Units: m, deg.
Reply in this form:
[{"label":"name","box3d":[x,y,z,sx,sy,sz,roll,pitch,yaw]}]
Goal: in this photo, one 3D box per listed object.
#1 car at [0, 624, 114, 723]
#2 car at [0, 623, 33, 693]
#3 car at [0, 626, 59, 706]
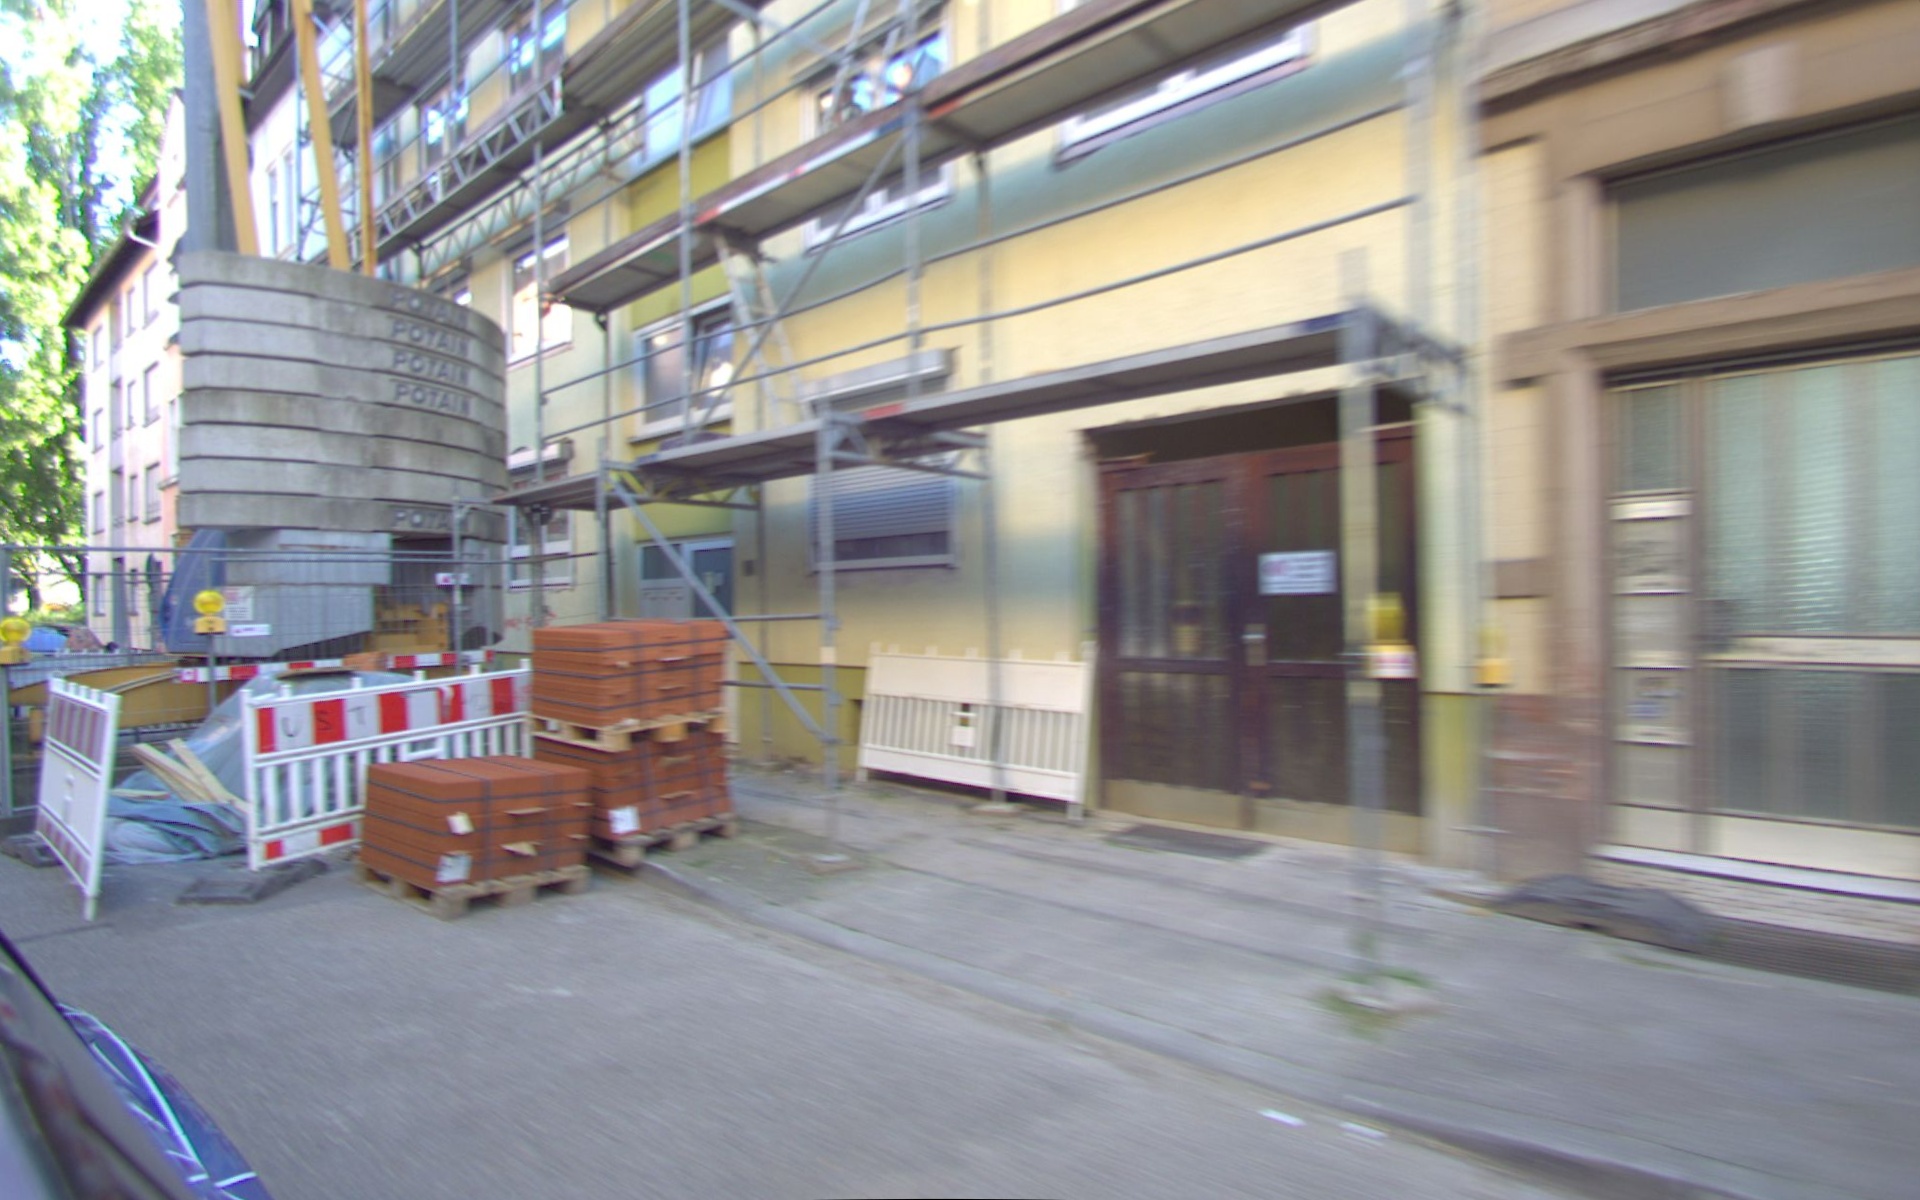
[{"label":"car","box3d":[-16.129,1.179,17.457,4.695,1.520,1.747,-1,-2,43]},{"label":"car","box3d":[-23.607,1.355,24.298,4.248,1.586,1.625,-1,-2,43]},{"label":"car","box3d":[-19.916,1.313,20.856,3.999,1.503,1.625,-1,0,43]}]
